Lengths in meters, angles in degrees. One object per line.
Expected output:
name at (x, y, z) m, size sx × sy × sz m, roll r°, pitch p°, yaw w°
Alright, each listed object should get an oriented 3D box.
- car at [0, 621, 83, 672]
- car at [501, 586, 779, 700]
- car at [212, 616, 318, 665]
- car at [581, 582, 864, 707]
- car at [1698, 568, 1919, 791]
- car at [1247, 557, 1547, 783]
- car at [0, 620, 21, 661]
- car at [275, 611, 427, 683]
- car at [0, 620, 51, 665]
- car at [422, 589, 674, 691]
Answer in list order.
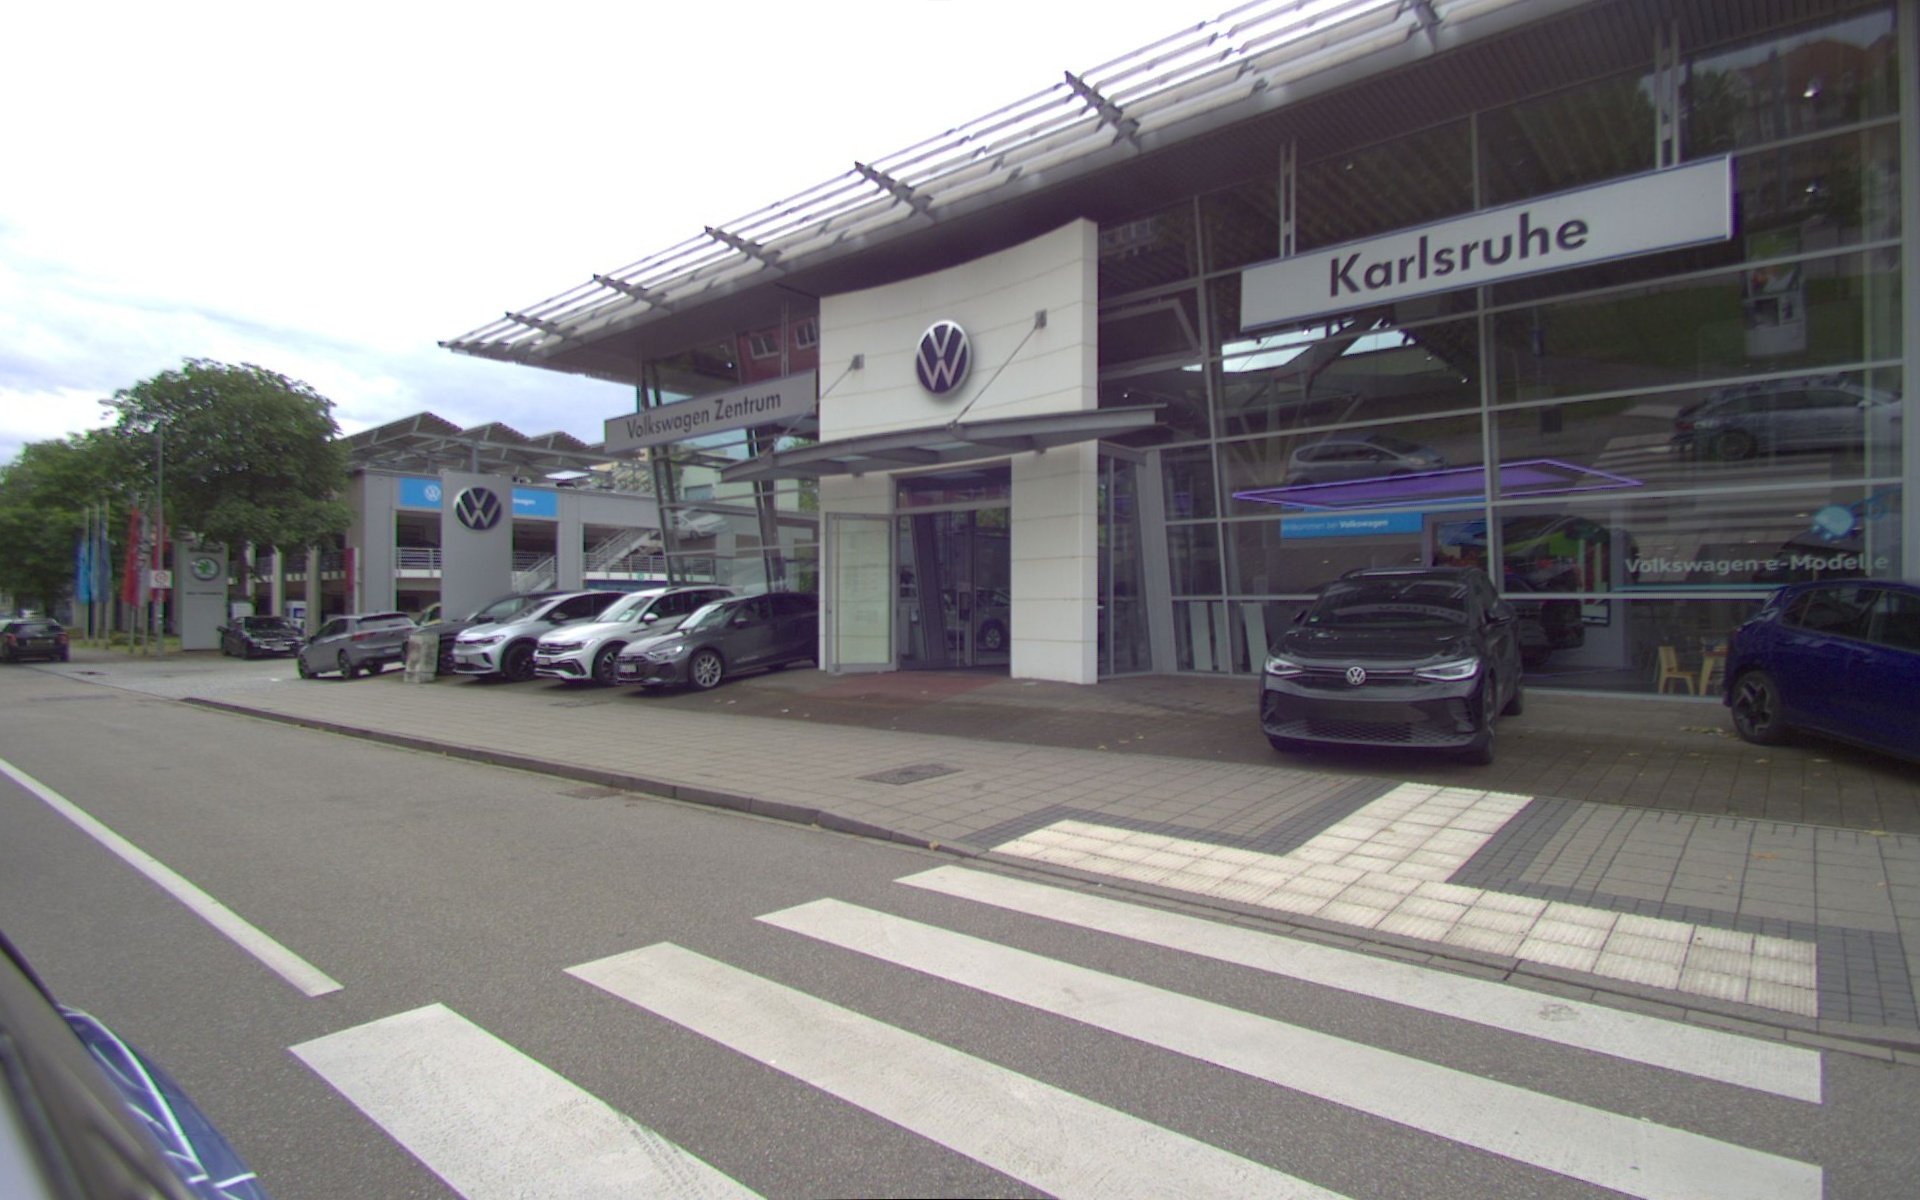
car at (-32.770, 1.581, 35.796) m, size 4.470 × 1.636 × 1.837 m, roll -1°, pitch 0°, yaw 38°
car at (-5.892, 0.709, 19.180) m, size 1.860 × 1.712 × 4.712 m, roll -2°, pitch 1°, yaw 40°
car at (-24.629, 1.386, 35.830) m, size 4.470 × 1.559 × 1.874 m, roll -1°, pitch 0°, yaw 38°
car at (-3.905, 0.646, 17.308) m, size 1.896 × 1.709 × 4.417 m, roll -2°, pitch 1°, yaw 39°
car at (7.558, 0.546, 7.118) m, size 1.835 × 1.515 × 4.332 m, roll 0°, pitch 2°, yaw 5°
car at (4.476, 0.475, 9.917) m, size 1.856 × 1.644 × 4.458 m, roll -2°, pitch 1°, yaw 34°
car at (-41.387, 1.692, 42.755) m, size 4.470 × 1.636 × 1.837 m, roll -1°, pitch 0°, yaw 38°
car at (-14.871, 1.112, 24.649) m, size 4.009 × 1.575 × 1.895 m, roll -2°, pitch -1°, yaw 38°
car at (-37.237, 1.638, 39.557) m, size 4.470 × 1.636 × 1.837 m, roll -1°, pitch 0°, yaw 38°
car at (-8.388, 0.744, 20.935) m, size 1.868 × 1.712 × 4.416 m, roll -2°, pitch 1°, yaw 40°
